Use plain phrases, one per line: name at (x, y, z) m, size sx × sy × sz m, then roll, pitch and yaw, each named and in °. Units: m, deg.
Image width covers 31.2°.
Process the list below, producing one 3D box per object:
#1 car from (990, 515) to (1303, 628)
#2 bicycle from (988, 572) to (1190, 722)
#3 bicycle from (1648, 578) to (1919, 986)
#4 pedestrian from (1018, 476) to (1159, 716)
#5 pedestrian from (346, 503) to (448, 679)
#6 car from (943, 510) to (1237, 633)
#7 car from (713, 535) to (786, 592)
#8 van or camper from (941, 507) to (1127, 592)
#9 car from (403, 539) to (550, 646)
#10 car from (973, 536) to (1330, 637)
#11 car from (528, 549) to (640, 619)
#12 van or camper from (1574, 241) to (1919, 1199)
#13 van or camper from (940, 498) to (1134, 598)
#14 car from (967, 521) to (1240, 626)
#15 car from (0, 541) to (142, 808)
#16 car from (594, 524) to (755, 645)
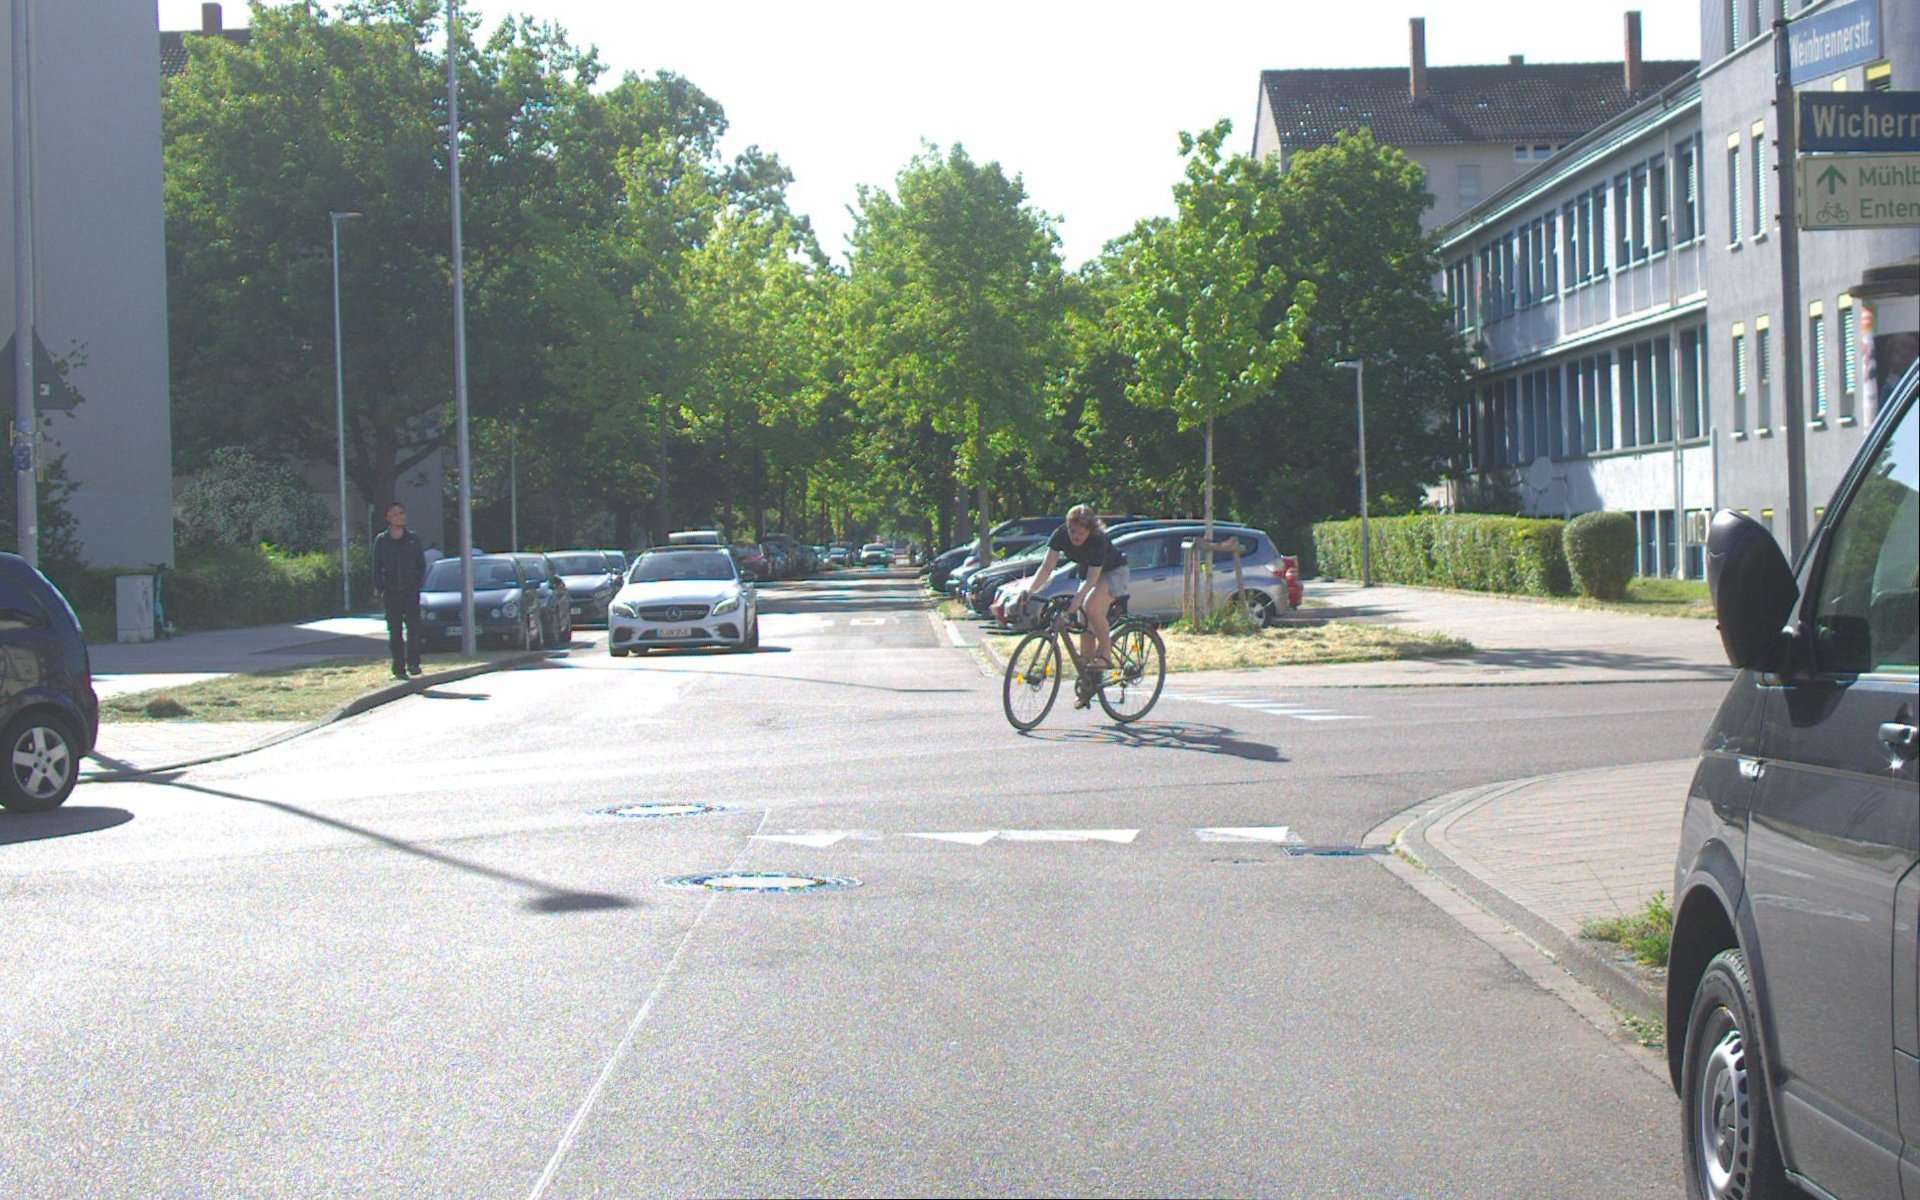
car at (2.515, -0.394, 47.034) m, size 4.088 × 1.487 × 1.729 m, roll 0°, pitch 0°, yaw -4°
bicycle at (0.926, 0.314, 24.205) m, size 0.550 × 1.008 × 1.916 m, roll 0°, pitch 0°, yaw 31°
bicycle at (2.765, 0.528, 11.120) m, size 0.528 × 1.189 × 2.031 m, roll -1°, pitch 0°, yaw -4°
pedestrian at (0.907, -0.032, 24.061) m, size 0.690 × 1.634 × 1.045 m, roll 1°, pitch 0°, yaw 19°
pedestrian at (-5.581, -0.097, 34.138) m, size 0.870 × 1.708 × 0.979 m, roll -1°, pitch 1°, yaw -4°
car at (1.943, -0.432, 52.266) m, size 4.278 × 1.758 × 2.000 m, roll 1°, pitch 0°, yaw -3°
car at (-7.742, -1.336, 126.783) m, size 1.994 × 2.007 × 3.999 m, roll 1°, pitch 0°, yaw 7°
van or camper at (1.604, -1.104, 75.745) m, size 3.987 × 1.766 × 2.000 m, roll 1°, pitch 0°, yaw -1°
car at (-6.784, -0.115, 48.554) m, size 1.667 × 1.415 × 4.000 m, roll 1°, pitch 0°, yaw -3°
car at (2.703, -0.202, 49.076) m, size 4.869 × 1.270 × 1.729 m, roll -2°, pitch 0°, yaw -5°
car at (-6.941, -0.295, 63.726) m, size 1.629 × 1.230 × 4.193 m, roll 1°, pitch 0°, yaw -1°
van or camper at (2.408, 0.410, 5.041) m, size 1.989 × 1.856 × 5.387 m, roll 1°, pitch 0°, yaw 0°
van or camper at (1.612, -1.091, 72.840) m, size 3.987 × 2.007 × 2.000 m, roll 1°, pitch 0°, yaw -1°
car at (2.261, -0.417, 55.089) m, size 4.203 × 1.590 × 2.000 m, roll 1°, pitch 0°, yaw -2°
car at (-6.789, 0.406, 19.283) m, size 1.741 × 1.525 × 4.105 m, roll 1°, pitch 0°, yaw 37°
car at (-3.814, -0.245, 46.539) m, size 1.885 × 1.499 × 4.639 m, roll -2°, pitch 1°, yaw -2°
